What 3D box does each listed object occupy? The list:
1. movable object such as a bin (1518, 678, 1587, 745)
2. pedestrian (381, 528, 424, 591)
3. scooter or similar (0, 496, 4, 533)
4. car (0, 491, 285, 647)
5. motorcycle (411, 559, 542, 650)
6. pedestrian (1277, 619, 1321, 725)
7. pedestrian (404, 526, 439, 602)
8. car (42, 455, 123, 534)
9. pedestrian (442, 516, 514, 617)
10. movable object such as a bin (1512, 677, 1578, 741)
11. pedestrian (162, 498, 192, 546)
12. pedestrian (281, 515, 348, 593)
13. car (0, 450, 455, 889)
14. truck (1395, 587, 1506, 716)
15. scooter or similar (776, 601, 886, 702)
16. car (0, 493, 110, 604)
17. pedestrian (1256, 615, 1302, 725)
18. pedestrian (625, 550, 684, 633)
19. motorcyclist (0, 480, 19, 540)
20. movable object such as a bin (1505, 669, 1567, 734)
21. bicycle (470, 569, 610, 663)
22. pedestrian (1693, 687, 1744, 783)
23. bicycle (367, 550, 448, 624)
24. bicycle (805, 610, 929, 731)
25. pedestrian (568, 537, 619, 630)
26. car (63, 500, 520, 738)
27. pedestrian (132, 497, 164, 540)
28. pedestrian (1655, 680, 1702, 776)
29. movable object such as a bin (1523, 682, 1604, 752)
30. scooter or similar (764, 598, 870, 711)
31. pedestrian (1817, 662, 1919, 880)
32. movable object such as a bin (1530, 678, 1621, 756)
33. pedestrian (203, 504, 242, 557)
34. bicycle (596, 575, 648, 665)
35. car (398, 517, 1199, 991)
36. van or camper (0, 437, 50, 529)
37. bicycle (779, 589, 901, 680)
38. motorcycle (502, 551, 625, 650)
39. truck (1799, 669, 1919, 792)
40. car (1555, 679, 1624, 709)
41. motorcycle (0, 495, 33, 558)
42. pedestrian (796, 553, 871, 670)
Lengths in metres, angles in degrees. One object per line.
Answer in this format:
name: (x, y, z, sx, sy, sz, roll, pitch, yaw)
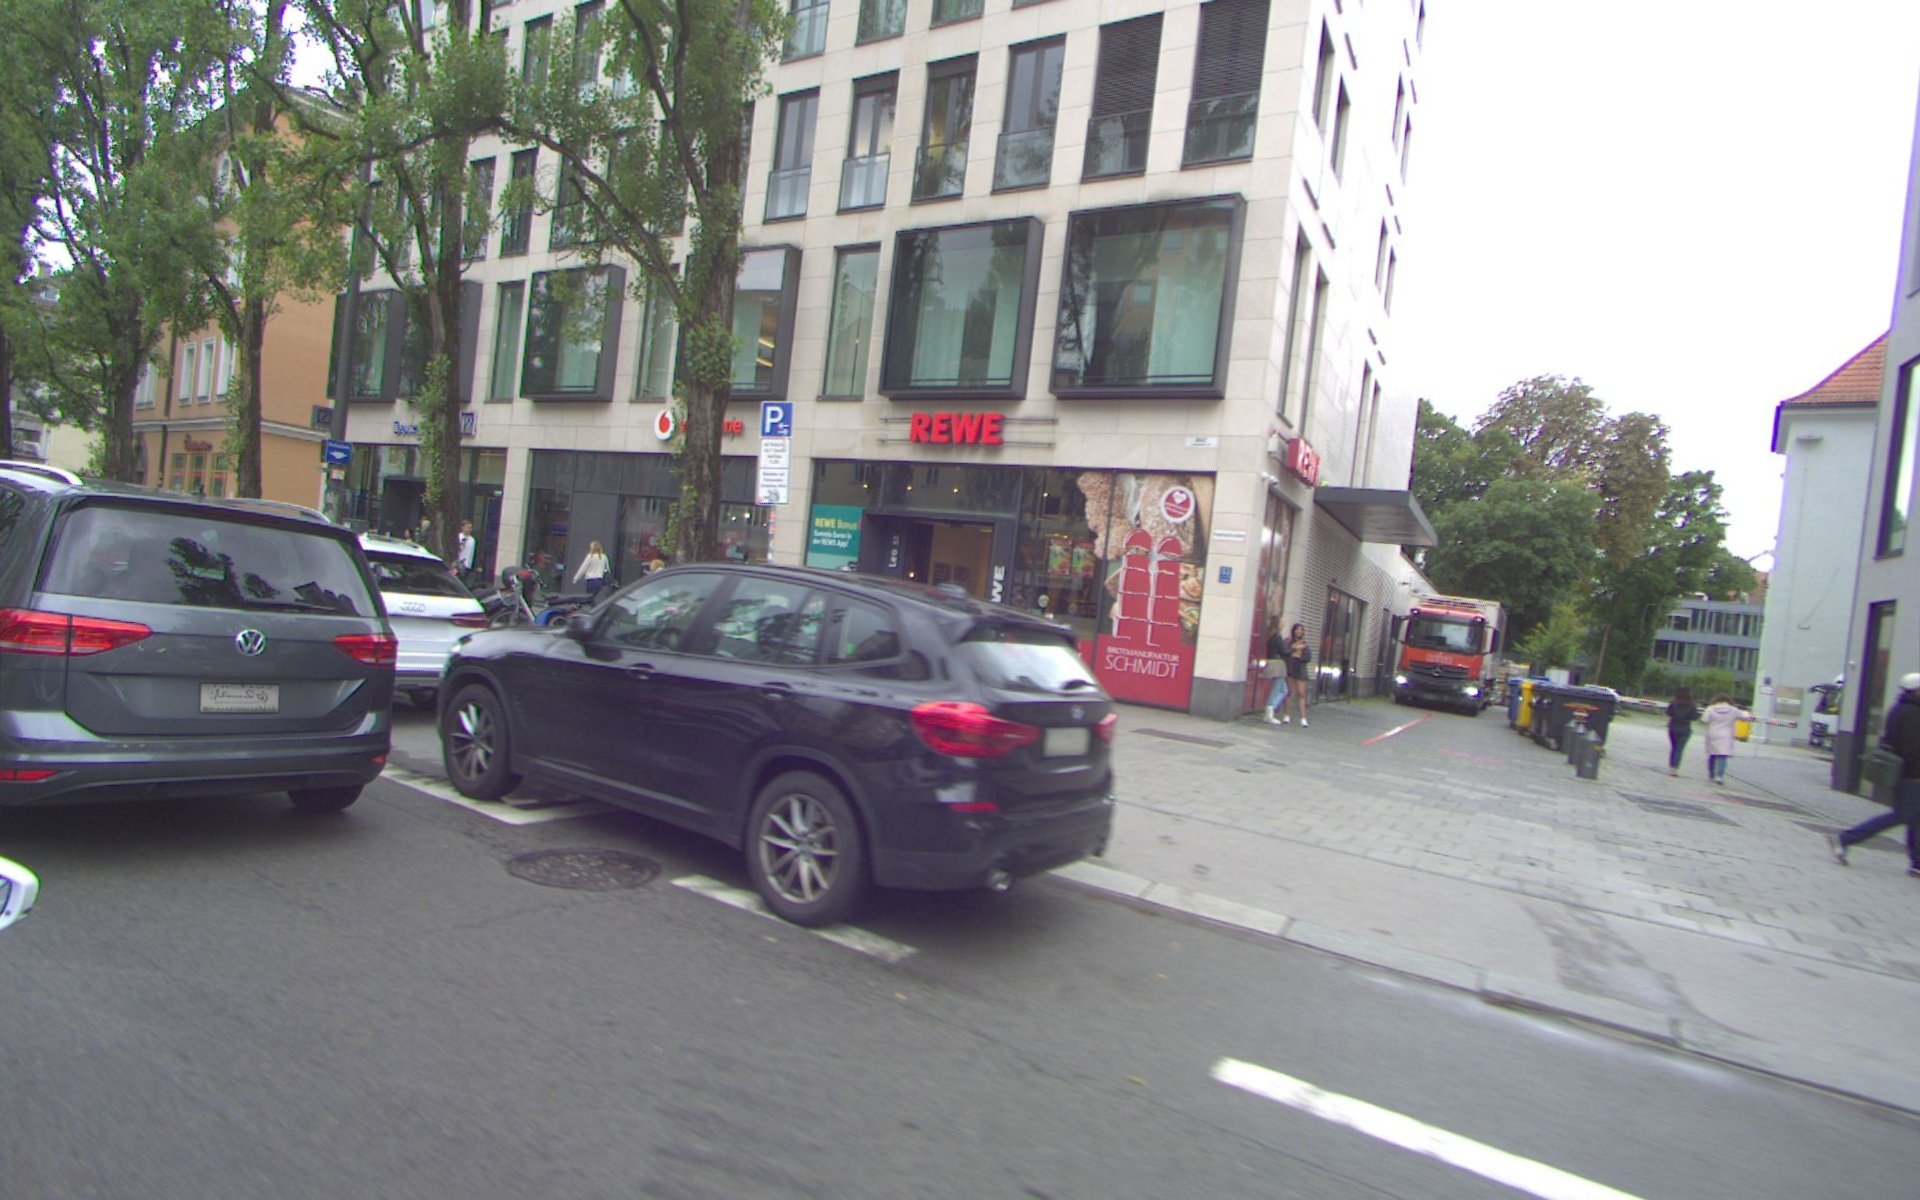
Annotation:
movable object such as a bin: (13.781, 2.577, 23.454, 1.162, 1.311, 1.162, 8, 2, 27)
pedestrian: (-15.451, -1.123, 27.888, 0.733, 1.642, 0.827, 5, 2, -43)
scooter or similar: (-32.725, -2.909, 33.945, 0.522, 1.249, 1.460, 3, 3, -39)
car: (-10.688, -0.457, 12.580, 4.725, 1.468, 1.932, 7, 1, 32)
motorcycle: (-7.312, 0.070, 15.246, 1.612, 1.171, 0.688, 7, 1, 11)
pedestrian: (5.863, 1.241, 17.410, 0.420, 1.773, 0.467, 7, 2, 34)
pedestrian: (-12.224, -0.822, 22.859, 0.545, 1.658, 0.554, 6, 1, -27)
car: (-30.819, -3.683, 35.457, 1.892, 2.358, 4.770, 5, 2, -40)
pedestrian: (-9.669, -0.674, 20.191, 0.924, 1.893, 0.817, 7, 2, 34)
movable object such as a bin: (14.268, 2.637, 24.578, 1.162, 1.311, 1.162, 8, 2, 27)
pedestrian: (-29.029, -2.888, 37.279, 0.727, 1.647, 0.795, 5, 2, -42)
pedestrian: (-14.463, -1.029, 22.555, 0.922, 1.597, 0.835, 7, 2, 30)
car: (-4.858, 0.131, 5.497, 4.115, 1.633, 1.763, 7, 0, 32)
truck: (15.600, 1.615, 32.172, 2.585, 3.495, 5.563, 7, 1, 25)
scooter or similar: (-1.698, 0.695, 13.376, 0.545, 1.226, 1.384, 7, 1, 35)
car: (-15.059, -0.944, 15.523, 4.355, 1.446, 1.847, 7, 0, 35)
pedestrian: (5.355, 1.164, 16.892, 0.460, 1.773, 0.427, 6, 1, 5)
pedestrian: (-6.482, -0.175, 21.366, 0.707, 1.642, 0.792, 7, 2, 39)
motorcyclist: (-23.470, -2.224, 24.533, 0.754, 1.425, 0.564, 7, 2, 34)
movable object such as a bin: (15.023, 2.625, 26.273, 1.162, 1.453, 1.162, 8, 2, 27)
bicycle: (-5.793, 0.219, 13.883, 1.738, 1.077, 0.643, 7, 2, 20)
pedestrian: (13.334, 2.368, 17.681, 0.544, 1.599, 0.505, 6, 0, 42)
bicycle: (-10.389, -0.254, 18.901, 1.687, 1.203, 0.455, 7, 2, 31)
bicycle: (-1.015, 0.785, 11.331, 0.526, 1.223, 1.480, 7, 1, 29)
pedestrian: (-7.447, -0.339, 20.413, 0.786, 1.795, 0.678, 6, 2, -24)
car: (-6.331, 0.056, 9.323, 4.729, 1.520, 1.810, 7, 1, 34)
pedestrian: (-33.407, -3.336, 41.399, 0.768, 1.634, 0.819, 7, 2, 40)
pedestrian: (12.996, 2.309, 18.187, 0.493, 1.644, 0.505, 6, 0, 42)
movable object such as a bin: (13.108, 2.519, 21.911, 1.277, 1.237, 1.110, 8, 2, 27)
scooter or similar: (-1.642, 0.635, 11.721, 0.306, 1.216, 1.436, 7, 1, 29)
pedestrian: (8.999, 1.620, 9.618, 0.910, 1.949, 0.647, 7, 2, 29)
movable object such as a bin: (12.714, 2.388, 20.842, 1.368, 1.335, 1.110, 8, 2, 27)
pedestrian: (-23.647, -2.219, 32.271, 0.701, 1.571, 0.606, 6, 2, 10)
bicycle: (-5.058, 0.278, 15.005, 0.540, 1.205, 1.446, 6, 1, -23)
car: (-1.168, 0.596, 6.096, 4.576, 1.720, 1.927, 6, -1, 34)
van or camper: (-36.247, -4.474, 37.607, 4.646, 3.152, 2.457, 7, 2, 39)
bicycle: (-1.872, 0.523, 15.650, 1.734, 1.187, 0.451, 7, 2, 16)
motorcycle: (-6.332, 0.000, 16.090, 1.612, 1.374, 0.688, 7, 2, 11)
truck: (30.972, 4.351, 32.305, 5.588, 3.509, 2.216, 7, 1, 32)
car: (44.882, 6.660, 71.839, 3.932, 1.529, 1.730, 7, 1, 30)
motorcycle: (-23.420, -1.841, 24.431, 2.217, 1.388, 0.826, 7, 2, 35)
pedestrian: (-1.888, 0.166, 15.078, 0.779, 1.640, 0.612, 7, 2, 17)
